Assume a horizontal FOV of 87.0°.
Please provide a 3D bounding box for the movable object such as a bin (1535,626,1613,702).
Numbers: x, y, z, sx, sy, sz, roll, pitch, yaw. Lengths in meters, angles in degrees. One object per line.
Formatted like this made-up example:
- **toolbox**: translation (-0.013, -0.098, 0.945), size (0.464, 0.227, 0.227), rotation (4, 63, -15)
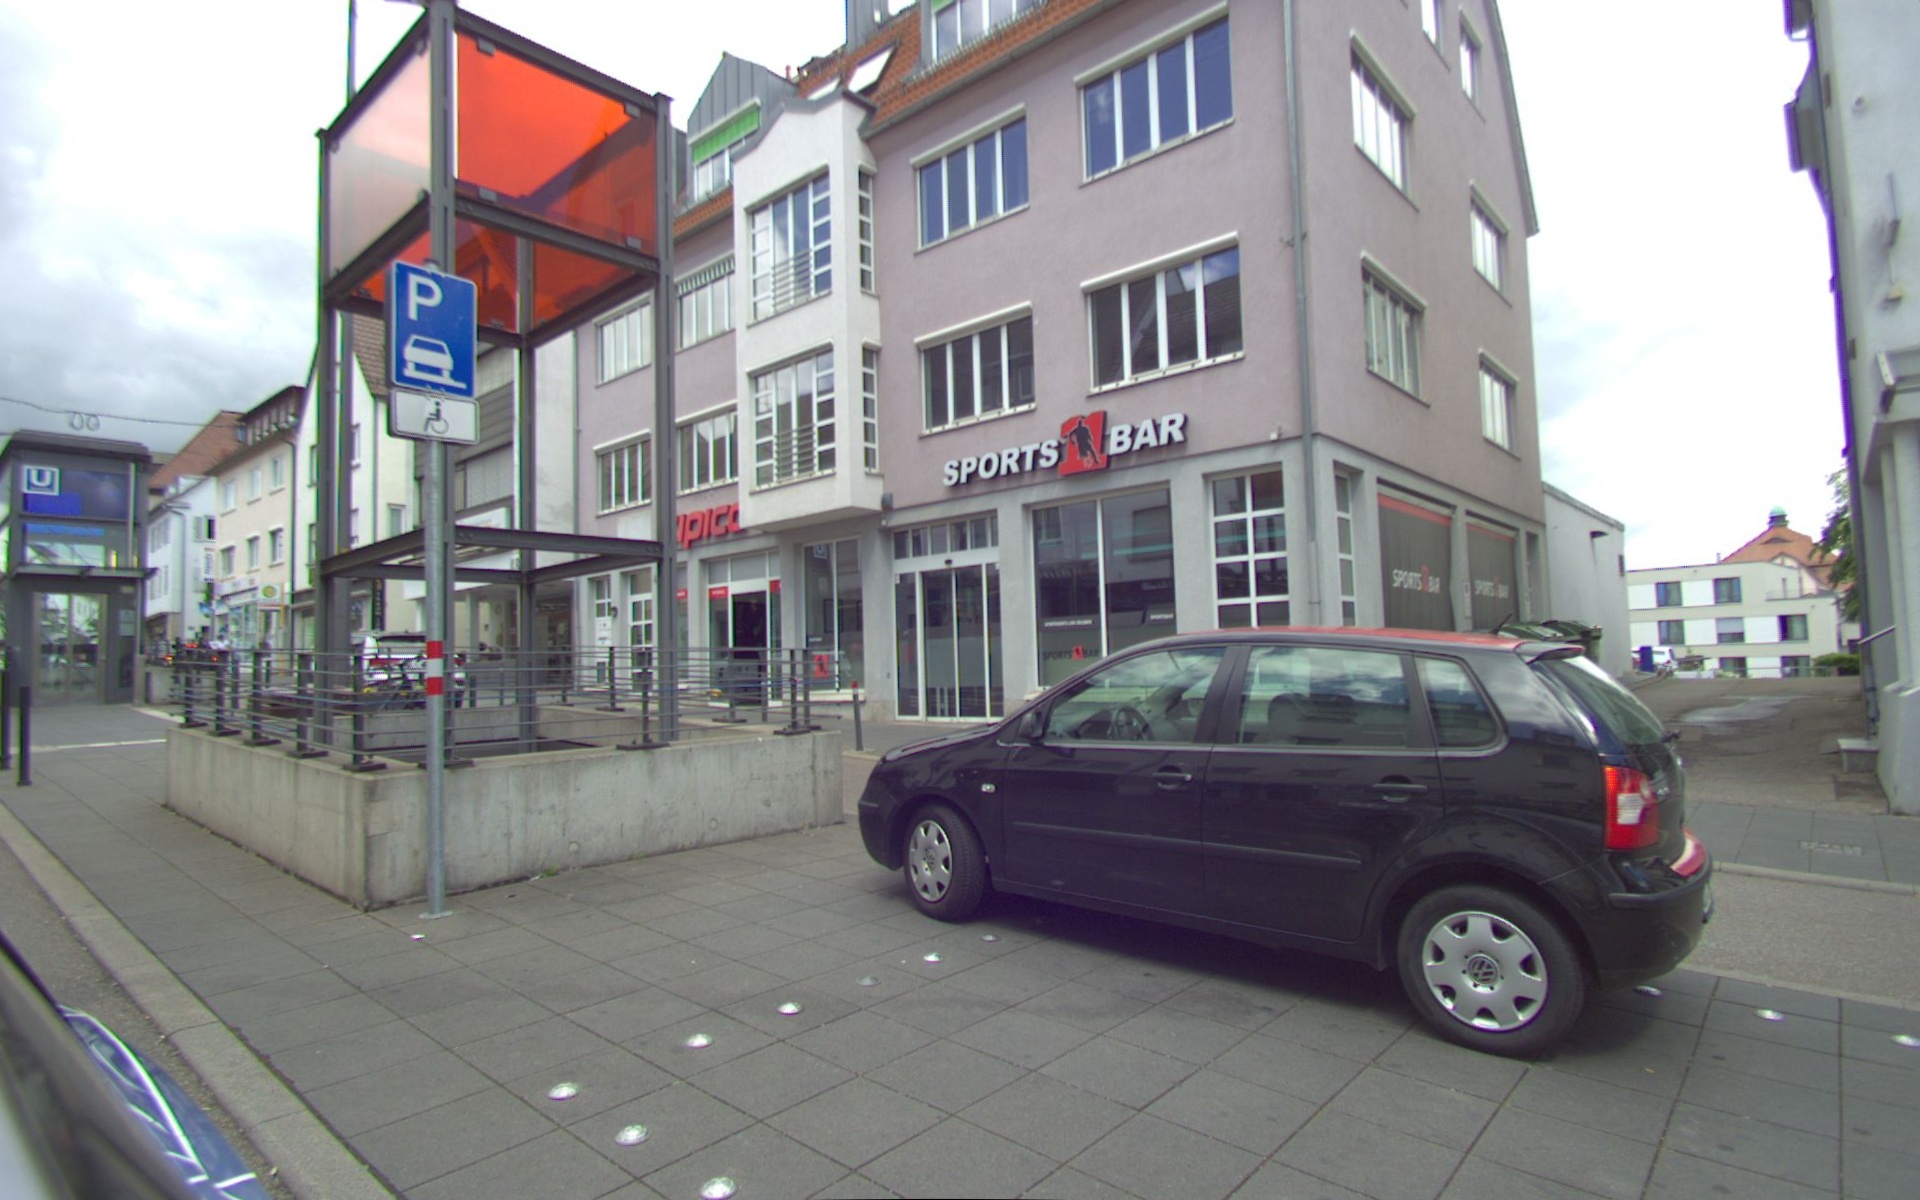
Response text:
- **movable object such as a bin**: translation (11.664, 1.184, 19.220), size (1.043, 1.387, 1.270), rotation (-2, -2, 41)

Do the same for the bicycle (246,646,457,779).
- **bicycle**: translation (-6.124, 1.089, 10.280), size (0.459, 1.232, 1.760), rotation (-1, -3, 40)

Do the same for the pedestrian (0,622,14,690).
- **pedestrian**: translation (-26.932, 1.552, 27.964), size (0.931, 1.856, 1.083), rotation (-1, -1, 41)

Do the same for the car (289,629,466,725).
- **car**: translation (-11.066, 1.361, 19.130), size (4.120, 1.583, 1.662), rotation (-1, -1, 41)

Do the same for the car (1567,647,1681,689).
- **car**: translation (29.027, 2.920, 44.266), size (3.934, 1.621, 1.941), rotation (-1, -1, 41)

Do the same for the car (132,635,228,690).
- **car**: translation (-25.034, 1.955, 32.430), size (4.120, 1.583, 1.662), rotation (-1, -1, 41)

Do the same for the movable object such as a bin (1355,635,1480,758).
- **movable object such as a bin**: translation (5.594, 1.130, 12.359), size (1.067, 1.387, 1.270), rotation (-2, -2, 41)

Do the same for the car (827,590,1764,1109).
- **car**: translation (1.292, 0.786, 4.753), size (3.851, 1.486, 1.553), rotation (-1, -4, 39)

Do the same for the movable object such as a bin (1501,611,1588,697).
- **movable object such as a bin**: translation (9.984, 0.903, 17.271), size (1.043, 1.387, 1.270), rotation (-2, -2, 41)

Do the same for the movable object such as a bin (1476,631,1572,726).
- **movable object such as a bin**: translation (8.720, 1.175, 15.635), size (1.043, 1.387, 1.270), rotation (-2, -2, 41)

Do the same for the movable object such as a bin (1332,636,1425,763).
- **movable object such as a bin**: translation (4.807, 1.111, 11.627), size (0.807, 1.387, 0.682), rotation (-2, -2, 41)

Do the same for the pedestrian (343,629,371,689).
- **pedestrian**: translation (-17.793, 1.738, 29.866), size (0.513, 1.729, 0.584), rotation (-1, -1, 41)

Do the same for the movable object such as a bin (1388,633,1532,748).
- **movable object such as a bin**: translation (6.542, 1.131, 13.238), size (1.406, 1.387, 1.270), rotation (-2, -2, 41)
